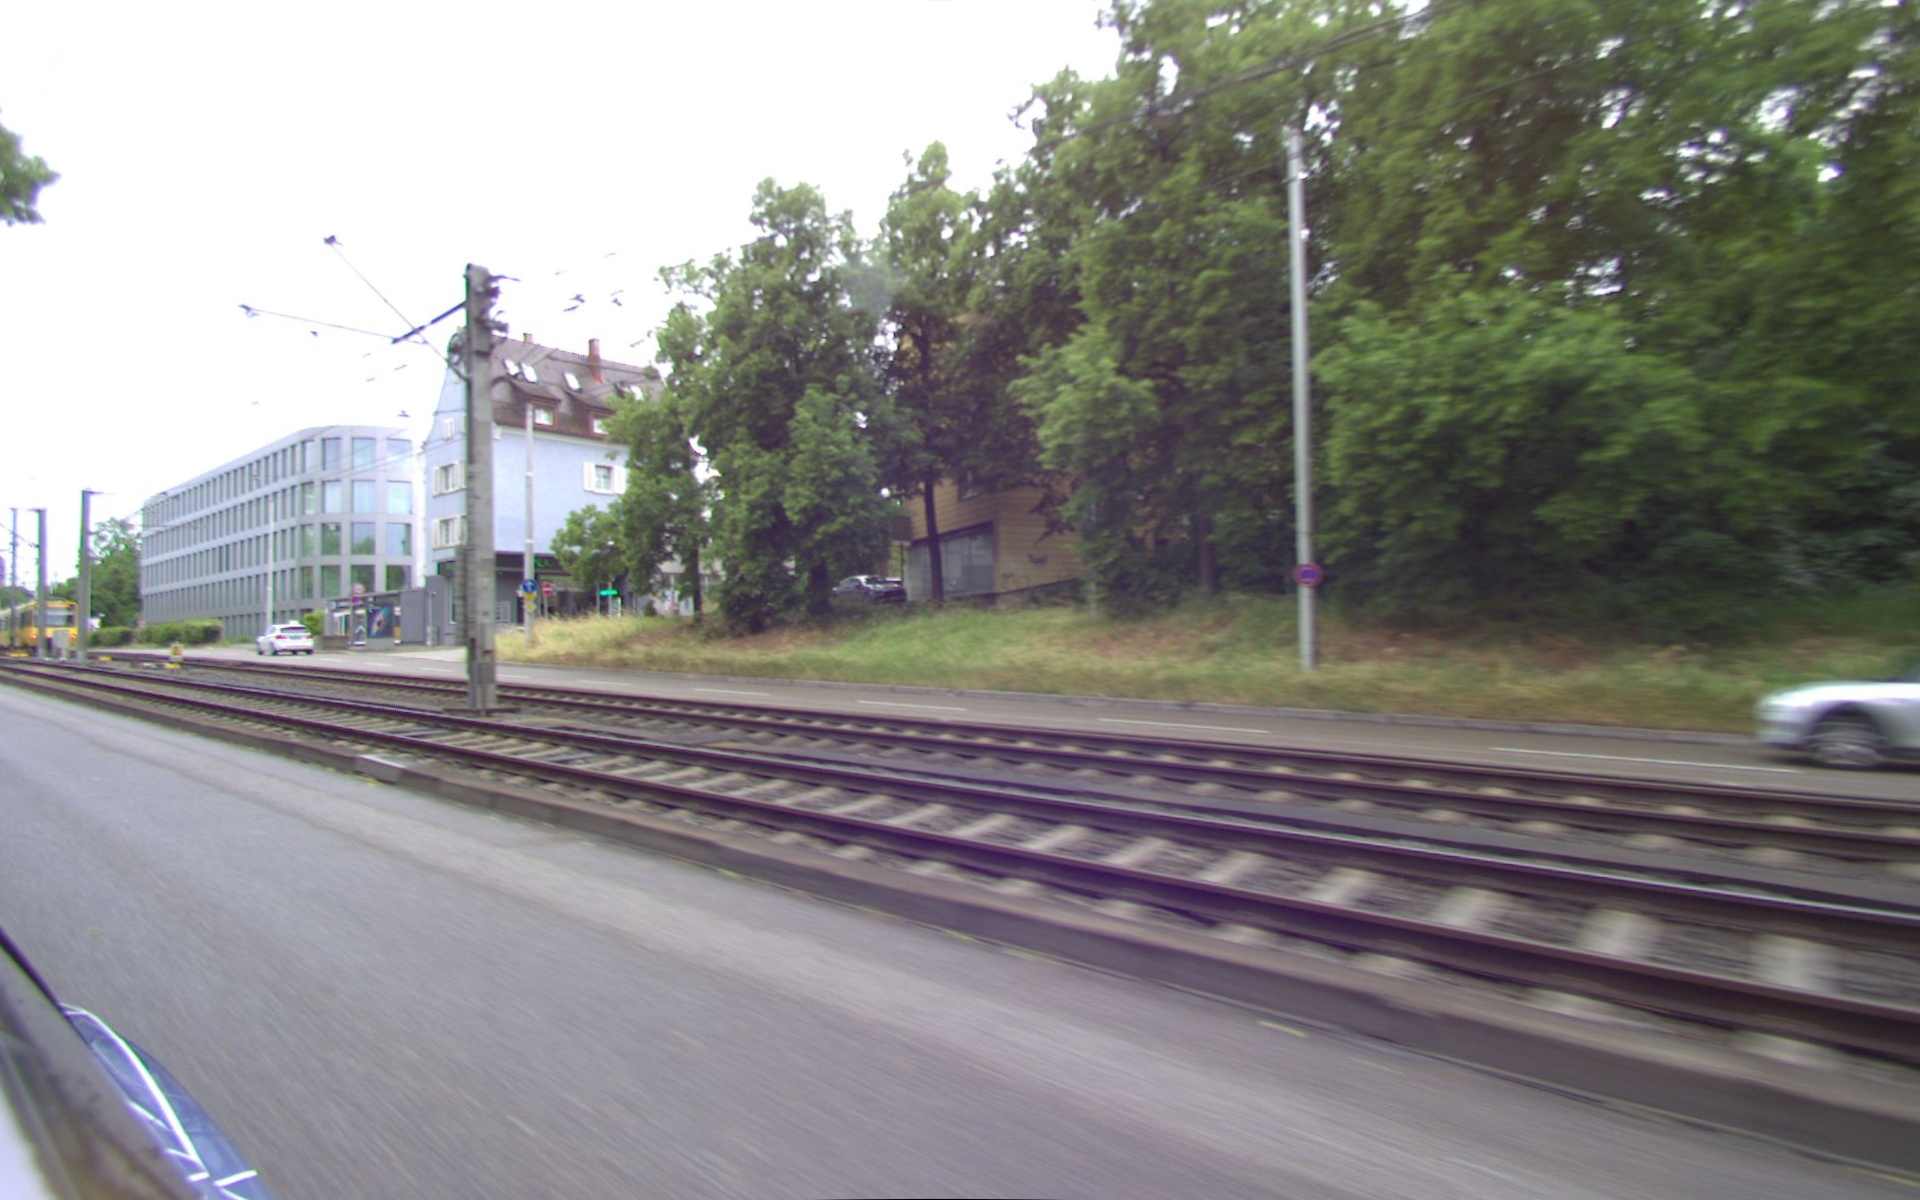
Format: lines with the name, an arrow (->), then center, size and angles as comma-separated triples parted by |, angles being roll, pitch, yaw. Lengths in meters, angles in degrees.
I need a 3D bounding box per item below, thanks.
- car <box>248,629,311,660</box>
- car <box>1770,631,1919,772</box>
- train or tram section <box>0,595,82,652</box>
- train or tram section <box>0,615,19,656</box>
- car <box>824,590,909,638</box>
car -> -35.263, 2.282, 52.406 | 4.379, 1.541, 1.635 | -2, -2, 42
car -> 10.917, 1.061, 10.456 | 3.907, 1.447, 1.460 | -2, -4, 41
train or tram section -> -69.800, 1.943, 76.508 | 19.516, 3.840, 2.935 | -3, -2, 43
train or tram section -> -98.014, 3.680, 102.206 | 18.611, 3.840, 2.935 | -3, -2, 43
car -> -4.148, 0.648, 44.395 | 1.934, 2.029, 4.228 | 1, -2, -33
